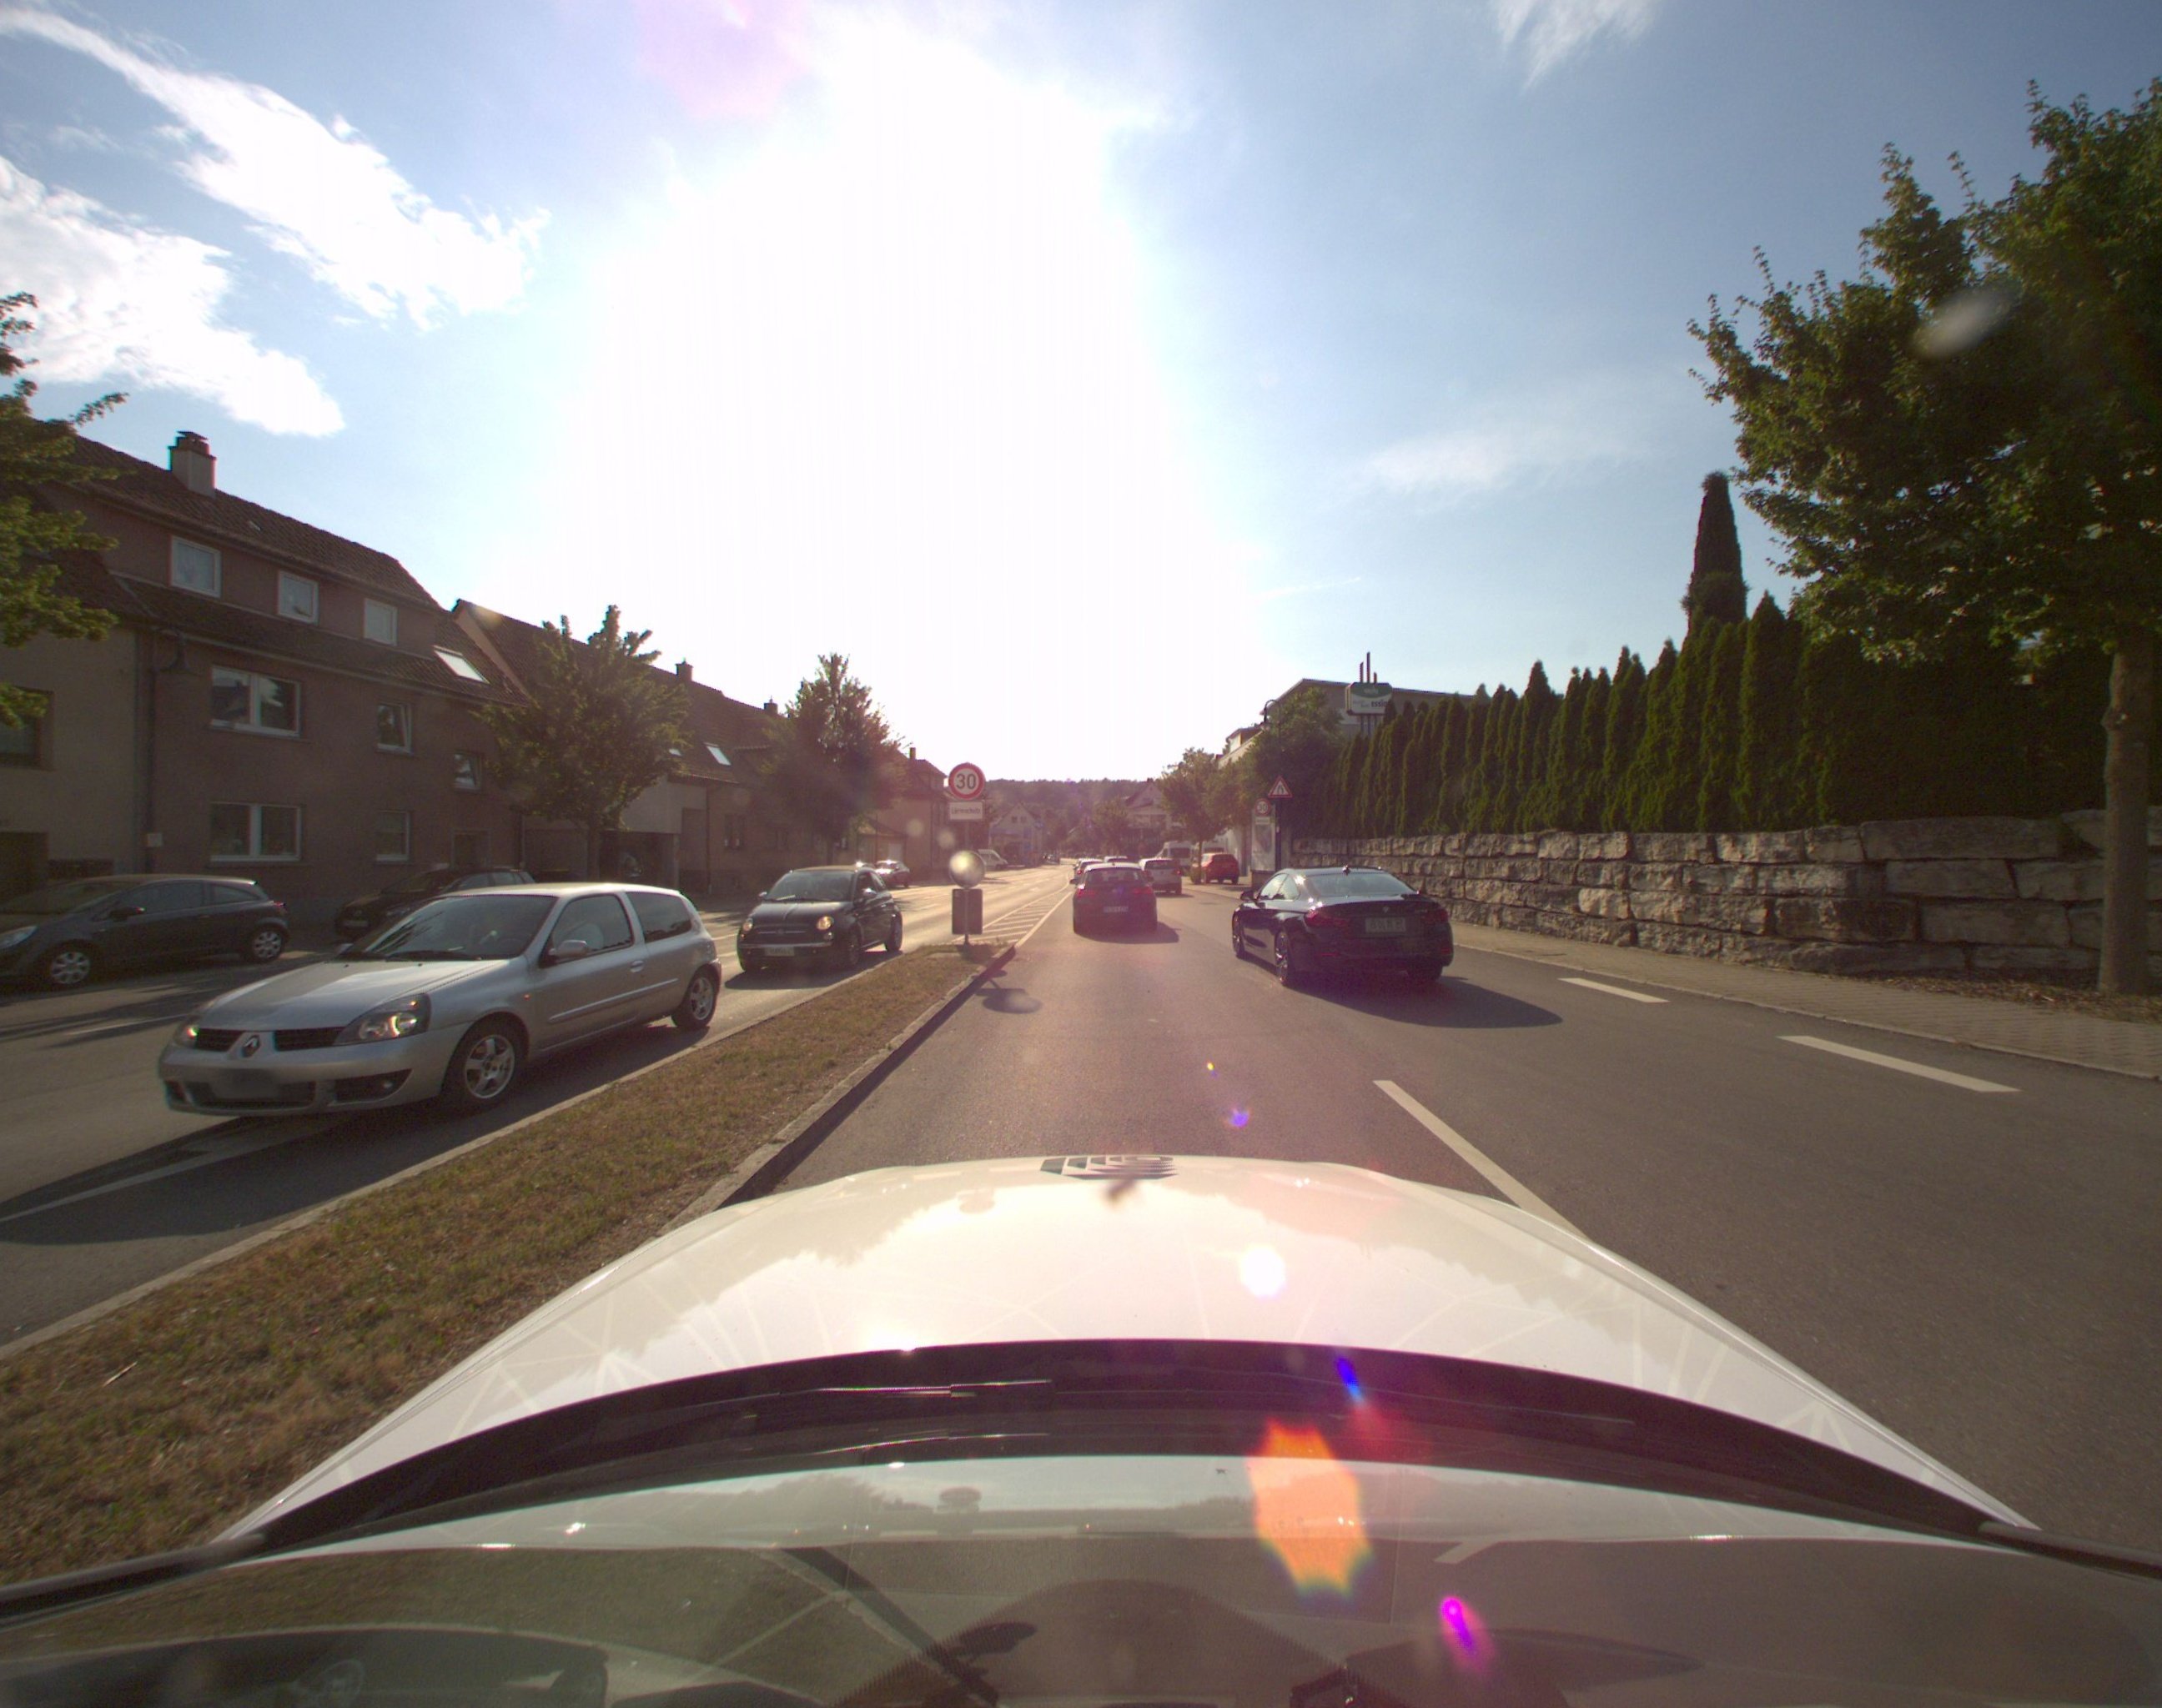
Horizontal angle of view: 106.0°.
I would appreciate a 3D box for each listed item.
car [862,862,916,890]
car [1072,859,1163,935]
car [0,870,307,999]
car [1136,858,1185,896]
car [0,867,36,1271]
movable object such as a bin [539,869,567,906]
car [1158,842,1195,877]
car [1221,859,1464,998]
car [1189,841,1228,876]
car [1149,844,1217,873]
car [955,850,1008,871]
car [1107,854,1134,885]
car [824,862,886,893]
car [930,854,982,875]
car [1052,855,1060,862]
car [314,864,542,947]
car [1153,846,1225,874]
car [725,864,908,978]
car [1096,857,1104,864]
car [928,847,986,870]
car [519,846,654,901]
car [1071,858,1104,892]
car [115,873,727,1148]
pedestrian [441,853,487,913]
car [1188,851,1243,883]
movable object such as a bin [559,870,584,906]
[{"bbox_3d":[-11.043,1.239,47.152,1.747,1.479,4.007,2,0,6],"label":"car"},{"bbox_3d":[0.774,0.871,18.010,1.765,1.456,3.516,-1,0,1],"label":"car"},{"bbox_3d":[-14.174,1.042,12.124,1.506,1.510,3.886,1,0,1],"label":"car"},{"bbox_3d":[3.186,0.895,33.218,1.747,1.414,3.423,-1,0,1],"label":"car"},{"bbox_3d":[-4.941,0.816,0.817,1.829,1.488,4.567,-1,0,1],"label":"car"},{"bbox_3d":[-17.104,1.079,26.379,0.508,1.137,0.541,-1,0,2],"label":"movable object such as a bin"},{"bbox_3d":[7.810,0.399,67.100,2.143,2.680,6.600,-1,0,-1],"label":"car"},{"bbox_3d":[3.123,0.792,10.701,1.695,1.369,4.259,-2,0,-2],"label":"car"},{"bbox_3d":[10.493,0.369,67.563,2.105,2.722,6.439,-1,0,-1],"label":"car"},{"bbox_3d":[9.375,0.379,75.244,6.028,2.516,2.042,-1,0,-3],"label":"car"},{"bbox_3d":[-11.967,0.770,98.482,6.138,2.444,2.249,0,0,0],"label":"car"},{"bbox_3d":[2.444,0.914,50.103,1.596,1.767,3.413,-1,0,2],"label":"car"},{"bbox_3d":[-11.732,1.191,42.600,1.657,1.487,4.008,2,0,7],"label":"car"},{"bbox_3d":[-12.691,1.036,82.888,4.956,1.999,1.937,0,2,2],"label":"car"},{"bbox_3d":[-5.477,0.876,176.840,1.592,1.485,3.473,0,0,-1],"label":"car"},{"bbox_3d":[-14.029,1.027,17.864,1.613,1.510,4.133,-1,0,0],"label":"car"},{"bbox_3d":[9.535,0.511,72.251,6.028,2.363,2.042,-1,0,-3],"label":"car"},{"bbox_3d":[-3.943,0.931,12.728,1.526,1.462,3.509,-1,0,3],"label":"car"},{"bbox_3d":[3.788,1.326,163.868,1.592,1.485,3.473,0,0,-1],"label":"car"},{"bbox_3d":[-13.457,0.495,88.871,5.893,2.479,2.197,0,2,4],"label":"car"},{"bbox_3d":[-17.982,0.701,29.732,3.804,1.881,1.781,1,0,3],"label":"car"},{"bbox_3d":[0.314,1.044,41.658,1.586,1.600,3.893,-1,0,0],"label":"car"},{"bbox_3d":[-4.410,0.902,6.241,1.582,1.427,3.582,-1,-1,4],"label":"car"},{"bbox_3d":[-17.285,0.795,22.820,0.713,1.607,0.783,3,0,34],"label":"pedestrian"},{"bbox_3d":[7.409,0.718,45.294,1.833,1.649,4.527,-1,0,-7],"label":"car"},{"bbox_3d":[-16.551,1.101,26.483,0.473,1.137,0.501,-1,0,2],"label":"movable object such as a bin"}]
